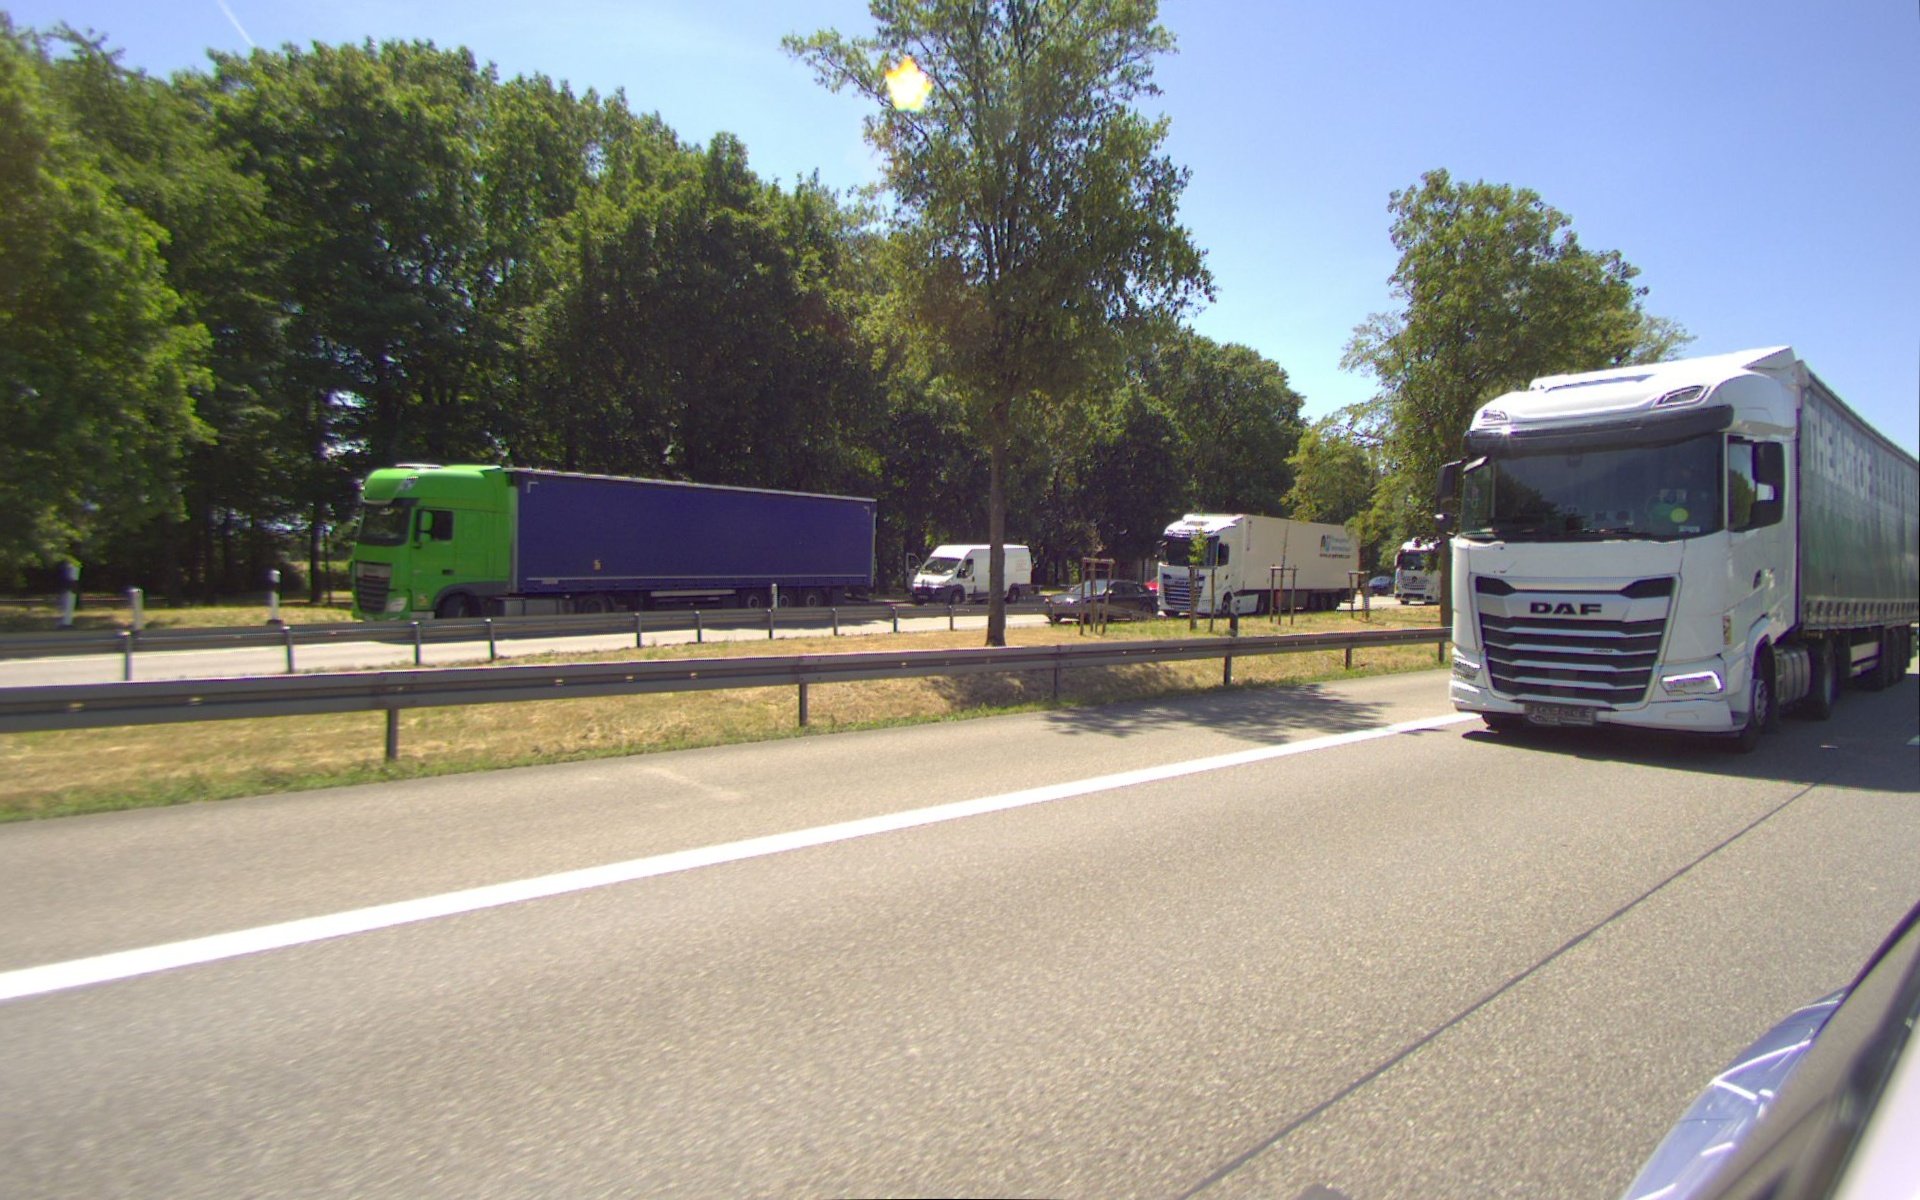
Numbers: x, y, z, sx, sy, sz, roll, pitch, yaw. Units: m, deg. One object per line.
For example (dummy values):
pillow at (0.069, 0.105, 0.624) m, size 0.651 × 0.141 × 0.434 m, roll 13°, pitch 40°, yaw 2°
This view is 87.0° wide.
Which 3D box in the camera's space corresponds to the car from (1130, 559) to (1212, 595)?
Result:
car at (11.356, -1.250, 54.269) m, size 2.140 × 1.774 × 4.797 m, roll 4°, pitch 4°, yaw 41°

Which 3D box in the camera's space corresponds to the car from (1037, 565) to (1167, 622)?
car at (4.924, -0.254, 34.610) m, size 4.603 × 1.731 × 1.996 m, roll -1°, pitch 4°, yaw -45°

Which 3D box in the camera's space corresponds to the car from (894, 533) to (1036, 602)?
car at (0.330, -1.341, 41.948) m, size 2.304 × 2.614 × 6.557 m, roll 4°, pitch 3°, yaw 38°

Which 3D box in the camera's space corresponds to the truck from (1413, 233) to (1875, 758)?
truck at (8.160, -0.905, 11.684) m, size 6.746 × 4.326 × 2.860 m, roll -1°, pitch 0°, yaw -42°

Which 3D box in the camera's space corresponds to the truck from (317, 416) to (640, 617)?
truck at (-11.803, -1.829, 25.349) m, size 3.374 × 4.312 × 6.530 m, roll 0°, pitch 0°, yaw 36°

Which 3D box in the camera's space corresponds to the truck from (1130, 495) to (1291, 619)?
truck at (10.205, -1.599, 40.710) m, size 3.379 × 4.519 × 7.281 m, roll 0°, pitch 0°, yaw 40°

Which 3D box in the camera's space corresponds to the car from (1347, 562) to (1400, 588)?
car at (30.302, -1.829, 74.082) m, size 2.140 × 1.716 × 4.797 m, roll 4°, pitch 4°, yaw 41°

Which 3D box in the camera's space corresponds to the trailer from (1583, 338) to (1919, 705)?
trailer at (15.104, -1.009, 17.933) m, size 14.723 × 4.326 × 2.860 m, roll -1°, pitch 0°, yaw -42°

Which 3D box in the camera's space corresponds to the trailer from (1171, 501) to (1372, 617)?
trailer at (14.511, -1.675, 45.798) m, size 3.379 × 4.519 × 14.151 m, roll 0°, pitch 0°, yaw 40°

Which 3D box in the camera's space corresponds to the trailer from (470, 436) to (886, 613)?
trailer at (-7.761, -1.908, 30.946) m, size 3.374 × 4.312 × 12.973 m, roll 0°, pitch 0°, yaw 36°

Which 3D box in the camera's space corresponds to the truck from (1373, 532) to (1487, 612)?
truck at (28.474, -1.677, 61.109) m, size 8.095 × 4.519 × 3.387 m, roll -1°, pitch 2°, yaw -43°
